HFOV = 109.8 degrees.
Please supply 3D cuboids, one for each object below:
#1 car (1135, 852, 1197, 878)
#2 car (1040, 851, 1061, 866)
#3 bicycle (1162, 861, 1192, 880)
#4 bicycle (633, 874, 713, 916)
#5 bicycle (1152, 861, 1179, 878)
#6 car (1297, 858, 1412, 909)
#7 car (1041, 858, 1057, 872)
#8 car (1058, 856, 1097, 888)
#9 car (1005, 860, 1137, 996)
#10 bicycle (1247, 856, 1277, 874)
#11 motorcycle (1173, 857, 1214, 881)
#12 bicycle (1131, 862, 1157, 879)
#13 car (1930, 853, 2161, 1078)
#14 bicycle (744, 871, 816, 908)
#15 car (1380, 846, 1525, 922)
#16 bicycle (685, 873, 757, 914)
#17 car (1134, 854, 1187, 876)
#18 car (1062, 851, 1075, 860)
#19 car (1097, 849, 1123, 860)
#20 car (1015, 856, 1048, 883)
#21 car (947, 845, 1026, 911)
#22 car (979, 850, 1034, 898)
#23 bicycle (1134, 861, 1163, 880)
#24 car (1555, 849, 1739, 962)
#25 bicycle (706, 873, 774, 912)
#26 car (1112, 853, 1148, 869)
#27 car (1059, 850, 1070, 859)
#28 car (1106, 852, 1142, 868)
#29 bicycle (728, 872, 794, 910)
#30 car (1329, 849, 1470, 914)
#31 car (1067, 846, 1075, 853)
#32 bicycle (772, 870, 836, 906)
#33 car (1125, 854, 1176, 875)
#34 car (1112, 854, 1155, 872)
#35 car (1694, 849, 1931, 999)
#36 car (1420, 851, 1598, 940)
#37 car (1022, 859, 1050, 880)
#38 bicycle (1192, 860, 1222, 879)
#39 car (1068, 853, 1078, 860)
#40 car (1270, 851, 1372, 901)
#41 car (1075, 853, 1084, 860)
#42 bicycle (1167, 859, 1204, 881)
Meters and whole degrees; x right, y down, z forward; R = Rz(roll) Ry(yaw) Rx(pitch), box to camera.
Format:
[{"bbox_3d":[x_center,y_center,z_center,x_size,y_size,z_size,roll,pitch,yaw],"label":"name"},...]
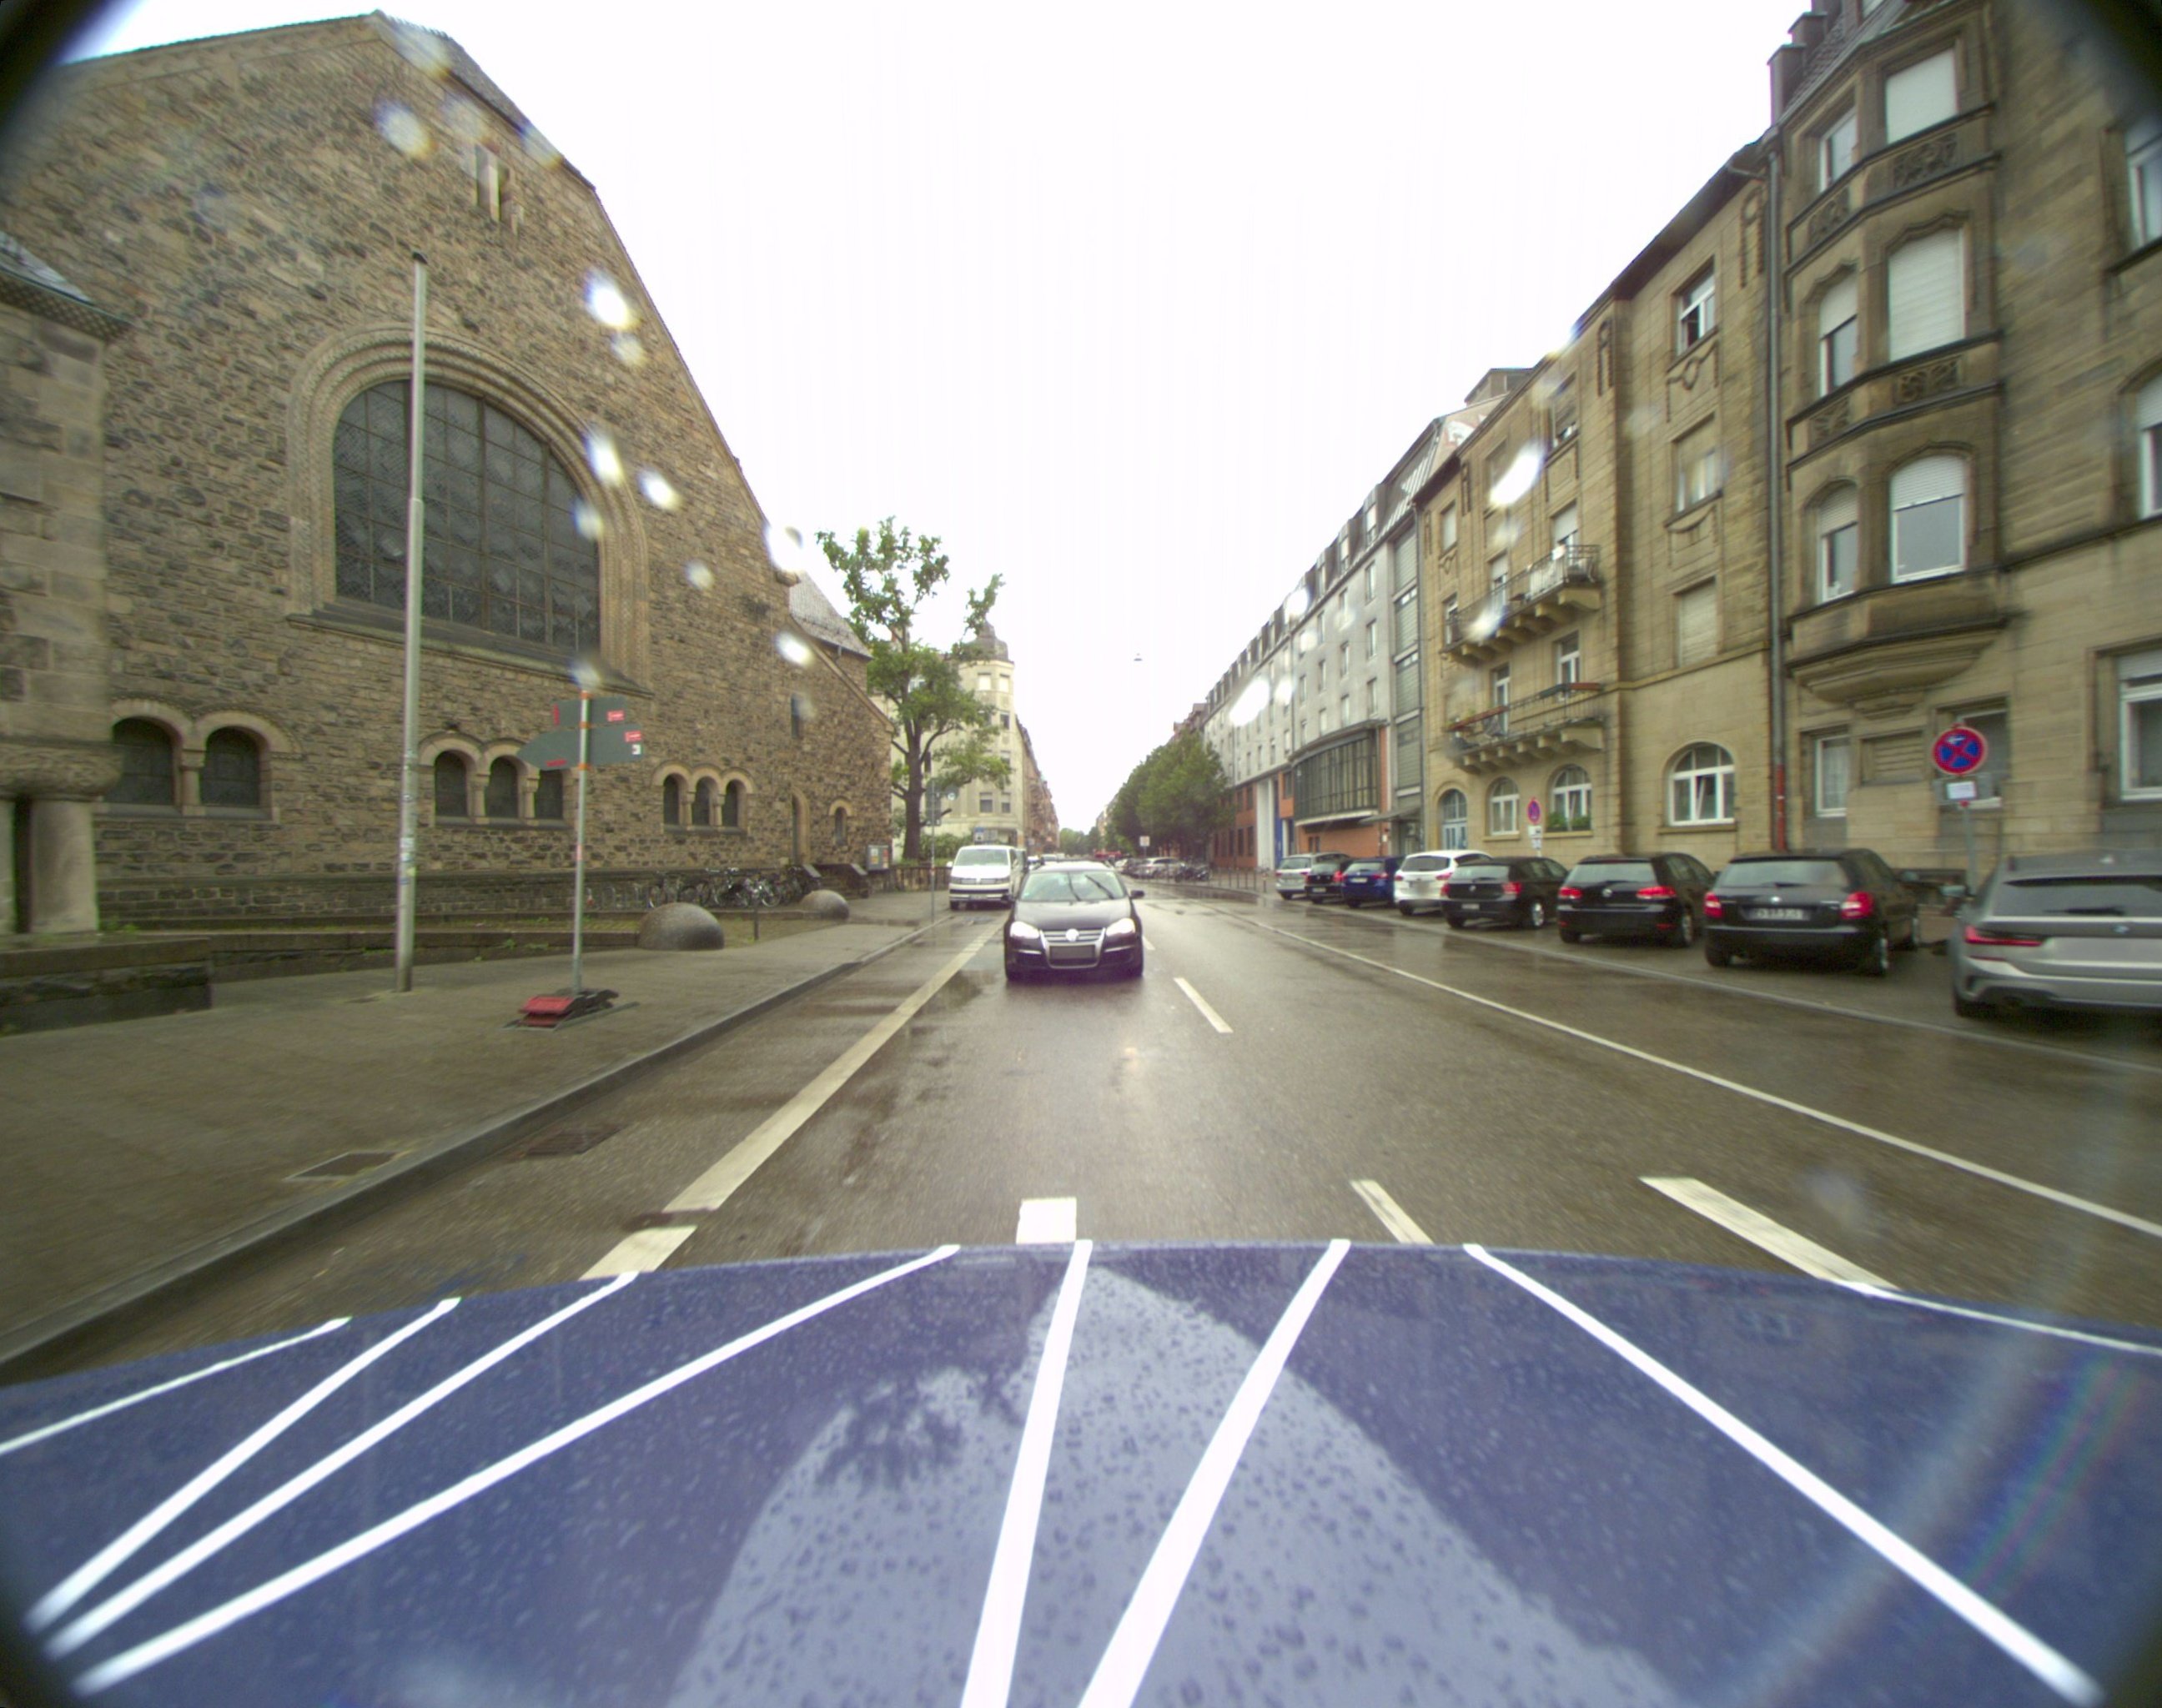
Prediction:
[{"bbox_3d":[6.118,0.757,54.863,4.006,1.804,1.996,0,0,-27],"label":"car"},{"bbox_3d":[-3.034,0.422,76.860,1.921,1.470,4.220,0,0,0],"label":"car"},{"bbox_3d":[5.879,0.999,46.696,1.688,1.067,0.544,-3,1,-3],"label":"bicycle"},{"bbox_3d":[-10.566,1.047,19.682,2.005,1.043,0.577,0,1,17],"label":"bicycle"},{"bbox_3d":[5.615,1.028,50.457,1.688,1.067,0.544,-1,1,-3],"label":"bicycle"},{"bbox_3d":[8.925,0.893,24.716,3.734,1.518,1.713,0,0,-35],"label":"car"},{"bbox_3d":[-2.890,0.977,69.731,1.356,1.285,3.013,0,0,0],"label":"car"},{"bbox_3d":[-0.165,0.832,36.212,1.766,1.430,3.748,0,0,0],"label":"car"},{"bbox_3d":[-0.116,0.874,10.893,1.547,1.553,4.070,0,0,0],"label":"car"},{"bbox_3d":[12.955,0.784,54.417,1.901,1.217,0.938,0,0,25],"label":"bicycle"},{"bbox_3d":[6.609,0.888,44.771,2.255,1.302,0.758,-2,1,0],"label":"motorcycle"},{"bbox_3d":[4.278,1.120,51.395,1.688,1.066,0.544,2,0,-3],"label":"bicycle"},{"bbox_3d":[9.078,0.831,6.868,3.436,1.535,1.697,-3,0,-39],"label":"car"},{"bbox_3d":[-9.081,1.054,22.913,2.150,1.054,0.679,0,0,22],"label":"bicycle"},{"bbox_3d":[9.465,0.705,19.270,3.734,1.617,1.774,-3,0,-38],"label":"car"},{"bbox_3d":[-9.851,1.066,20.795,1.924,1.054,0.582,0,1,19],"label":"bicycle"},{"bbox_3d":[6.212,0.854,59.581,3.803,1.705,1.998,0,0,-10],"label":"car"},{"bbox_3d":[-2.326,0.220,140.463,1.998,1.705,3.803,0,0,4],"label":"car"},{"bbox_3d":[4.711,0.063,123.677,3.809,1.705,1.995,0,0,-34],"label":"car"},{"bbox_3d":[-2.874,0.874,44.520,1.674,1.540,3.918,0,0,0],"label":"car"},{"bbox_3d":[-2.931,0.702,24.661,1.909,1.911,5.272,0,0,0],"label":"car"},{"bbox_3d":[-2.995,0.758,31.203,1.837,1.835,4.295,0,0,0],"label":"car"},{"bbox_3d":[4.298,1.044,48.194,1.688,1.067,0.544,-6,1,-3],"label":"bicycle"},{"bbox_3d":[9.639,0.761,12.852,3.766,1.535,1.624,-3,0,-40],"label":"car"},{"bbox_3d":[-9.632,1.077,21.449,1.923,1.054,0.582,0,1,22],"label":"bicycle"},{"bbox_3d":[5.617,0.794,87.491,3.803,1.705,1.904,0,0,-10],"label":"car"},{"bbox_3d":[-3.321,0.142,154.503,1.998,1.705,3.803,0,0,4],"label":"car"},{"bbox_3d":[5.412,0.698,95.924,4.006,2.002,1.995,0,0,-28],"label":"car"},{"bbox_3d":[-9.363,1.063,22.204,1.923,1.054,0.582,0,1,22],"label":"bicycle"},{"bbox_3d":[9.262,0.737,22.083,3.732,1.519,1.897,-4,2,-31],"label":"car"},{"bbox_3d":[-2.674,-1.103,198.986,1.838,1.827,4.001,0,0,4],"label":"car"},{"bbox_3d":[-8.617,1.045,23.648,1.978,1.060,0.607,0,1,22],"label":"bicycle"},{"bbox_3d":[5.671,0.880,62.652,3.803,1.705,1.998,0,0,-10],"label":"car"},{"bbox_3d":[5.204,0.878,75.542,3.803,1.705,1.998,0,0,-10],"label":"car"},{"bbox_3d":[9.678,0.781,9.990,3.450,1.535,1.624,-3,0,-36],"label":"car"},{"bbox_3d":[9.050,0.793,16.007,3.733,1.535,1.774,-3,0,-35],"label":"car"},{"bbox_3d":[-2.891,0.987,49.459,1.558,1.285,3.662,0,0,0],"label":"car"},{"bbox_3d":[7.735,0.929,46.702,1.688,1.067,0.544,-3,1,-3],"label":"bicycle"},{"bbox_3d":[-1.839,0.512,175.600,1.998,1.705,4.376,0,0,4],"label":"car"},{"bbox_3d":[8.819,0.747,27.795,3.931,1.719,1.811,0,0,-41],"label":"car"},{"bbox_3d":[-0.307,0.552,190.220,1.998,1.705,4.376,0,0,4],"label":"car"},{"bbox_3d":[6.290,0.947,45.738,2.049,1.165,0.773,-3,1,-3],"label":"bicycle"}]
